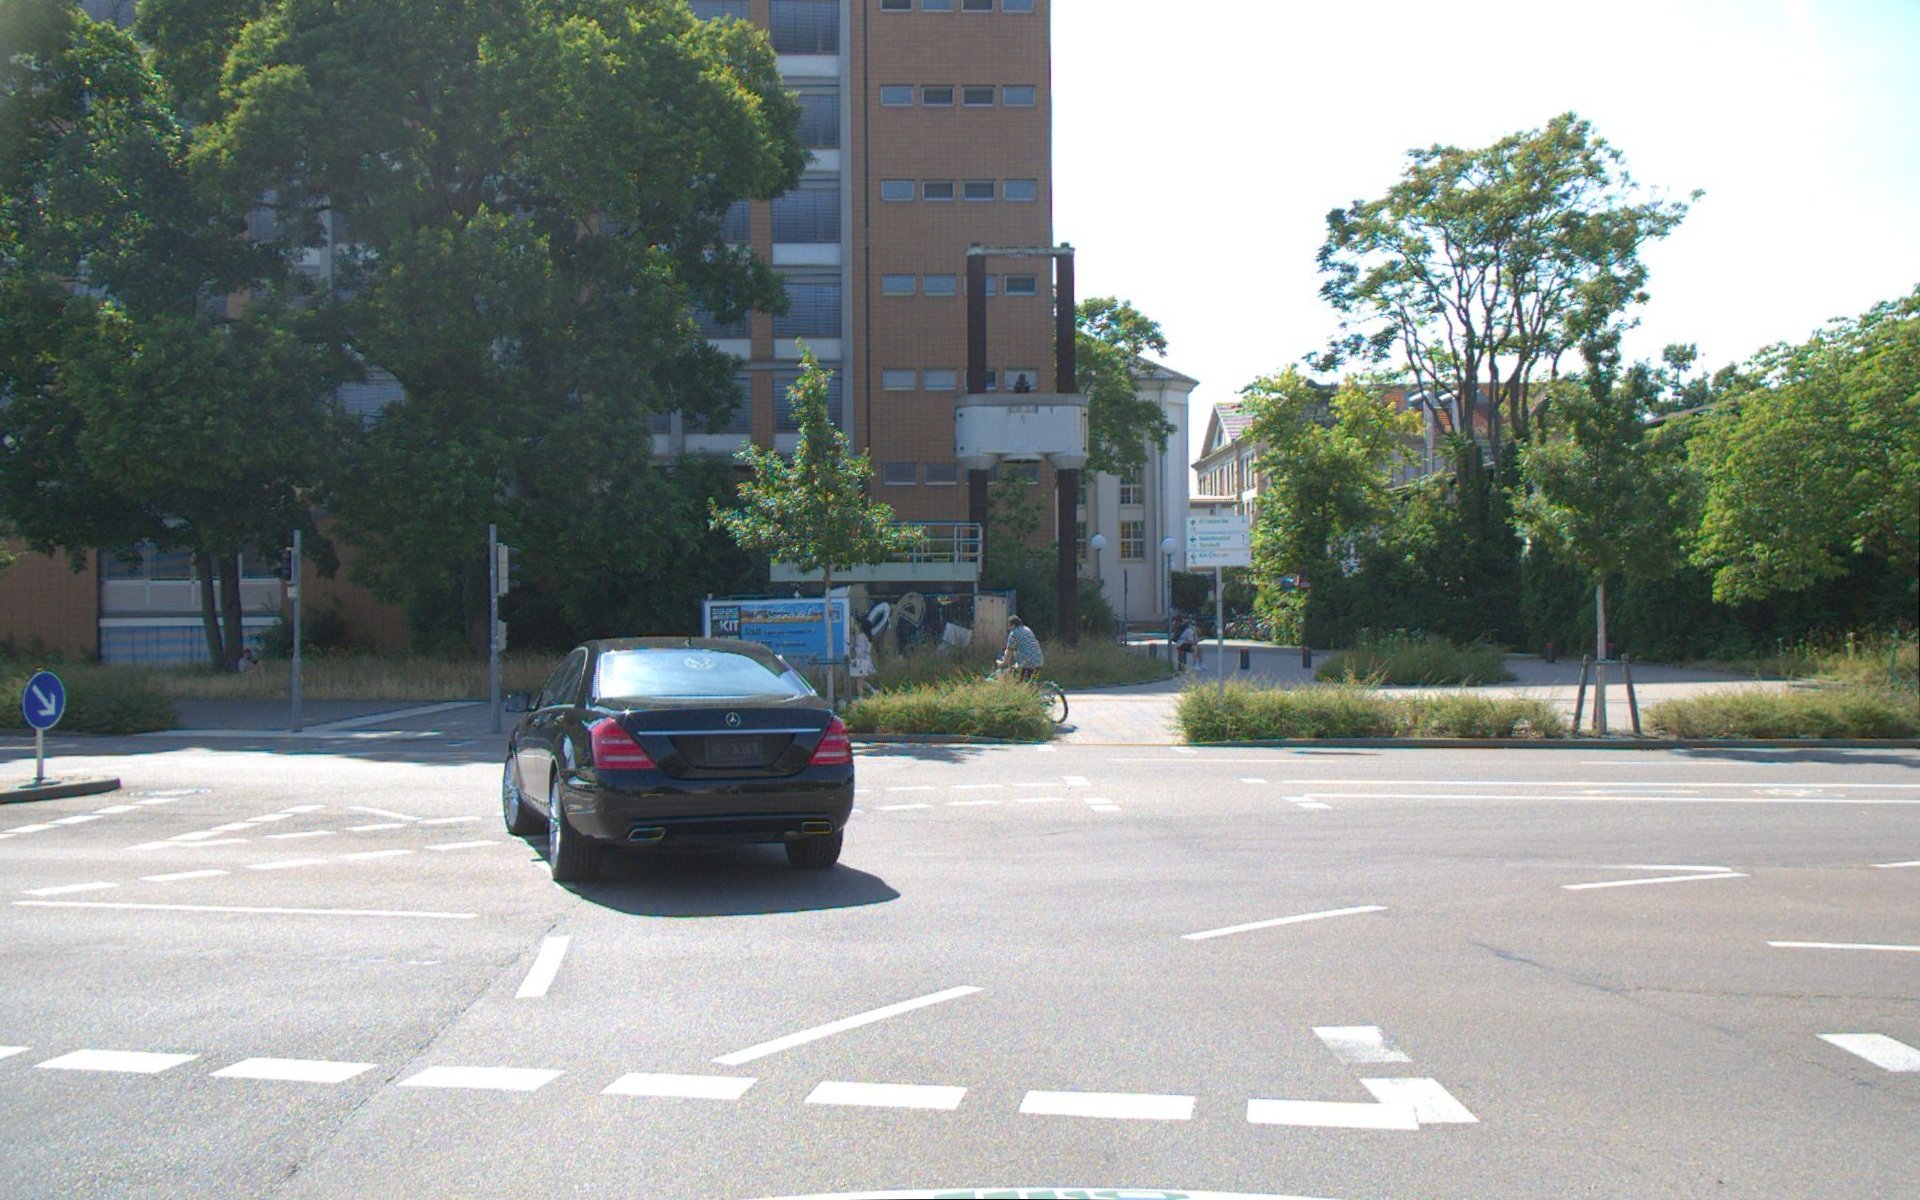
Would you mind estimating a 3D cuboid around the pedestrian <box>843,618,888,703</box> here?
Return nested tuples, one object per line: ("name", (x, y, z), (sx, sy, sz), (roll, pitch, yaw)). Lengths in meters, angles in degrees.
("pedestrian", (-1.812, 1.149, 31.876), (0.794, 1.607, 0.692), (-1, -1, 1))

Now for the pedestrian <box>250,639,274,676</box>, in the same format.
("pedestrian", (-17.362, 1.432, 41.141), (0.419, 0.907, 0.393), (-1, -1, 9))

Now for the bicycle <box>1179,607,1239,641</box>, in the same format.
("bicycle", (12.053, 1.171, 80.215), (2.765, 1.586, 0.841), (-1, 0, -1))

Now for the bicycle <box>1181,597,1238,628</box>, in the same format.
("bicycle", (12.710, 0.649, 84.283), (2.765, 1.506, 0.841), (-1, 0, -1))

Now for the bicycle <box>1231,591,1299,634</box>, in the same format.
("bicycle", (13.228, 0.540, 71.744), (2.765, 1.775, 0.841), (-1, 0, -1))

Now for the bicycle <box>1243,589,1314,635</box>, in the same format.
("bicycle", (13.381, 0.505, 69.486), (2.765, 1.868, 0.841), (-1, 0, -1))

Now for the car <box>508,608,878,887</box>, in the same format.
("car", (-2.113, 0.954, 11.811), (1.830, 1.557, 4.687), (2, -3, -19))

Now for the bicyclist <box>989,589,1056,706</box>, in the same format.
("bicyclist", (1.057, 0.788, 27.946), (0.841, 1.911, 0.686), (2, 0, 32))

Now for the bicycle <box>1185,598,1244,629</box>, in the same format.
("bicycle", (12.691, 0.671, 82.499), (2.765, 1.526, 0.841), (-1, 0, -1))

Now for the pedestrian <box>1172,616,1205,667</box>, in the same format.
("pedestrian", (5.752, 1.038, 41.707), (0.776, 1.235, 0.758), (1, -1, 6))

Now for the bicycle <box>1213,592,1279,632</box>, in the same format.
("bicycle", (12.826, 0.525, 74.197), (2.765, 1.688, 0.841), (-1, 1, -1))

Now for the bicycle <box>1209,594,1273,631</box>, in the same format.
("bicycle", (12.775, 0.565, 75.264), (2.765, 1.615, 0.841), (-1, 0, -1))

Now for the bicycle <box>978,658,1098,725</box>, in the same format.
("bicycle", (1.298, 1.522, 27.740), (1.916, 0.962, 0.693), (1, 4, 32))

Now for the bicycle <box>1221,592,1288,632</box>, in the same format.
("bicycle", (12.994, 0.526, 72.994), (2.765, 1.678, 0.841), (-1, 0, -1))
